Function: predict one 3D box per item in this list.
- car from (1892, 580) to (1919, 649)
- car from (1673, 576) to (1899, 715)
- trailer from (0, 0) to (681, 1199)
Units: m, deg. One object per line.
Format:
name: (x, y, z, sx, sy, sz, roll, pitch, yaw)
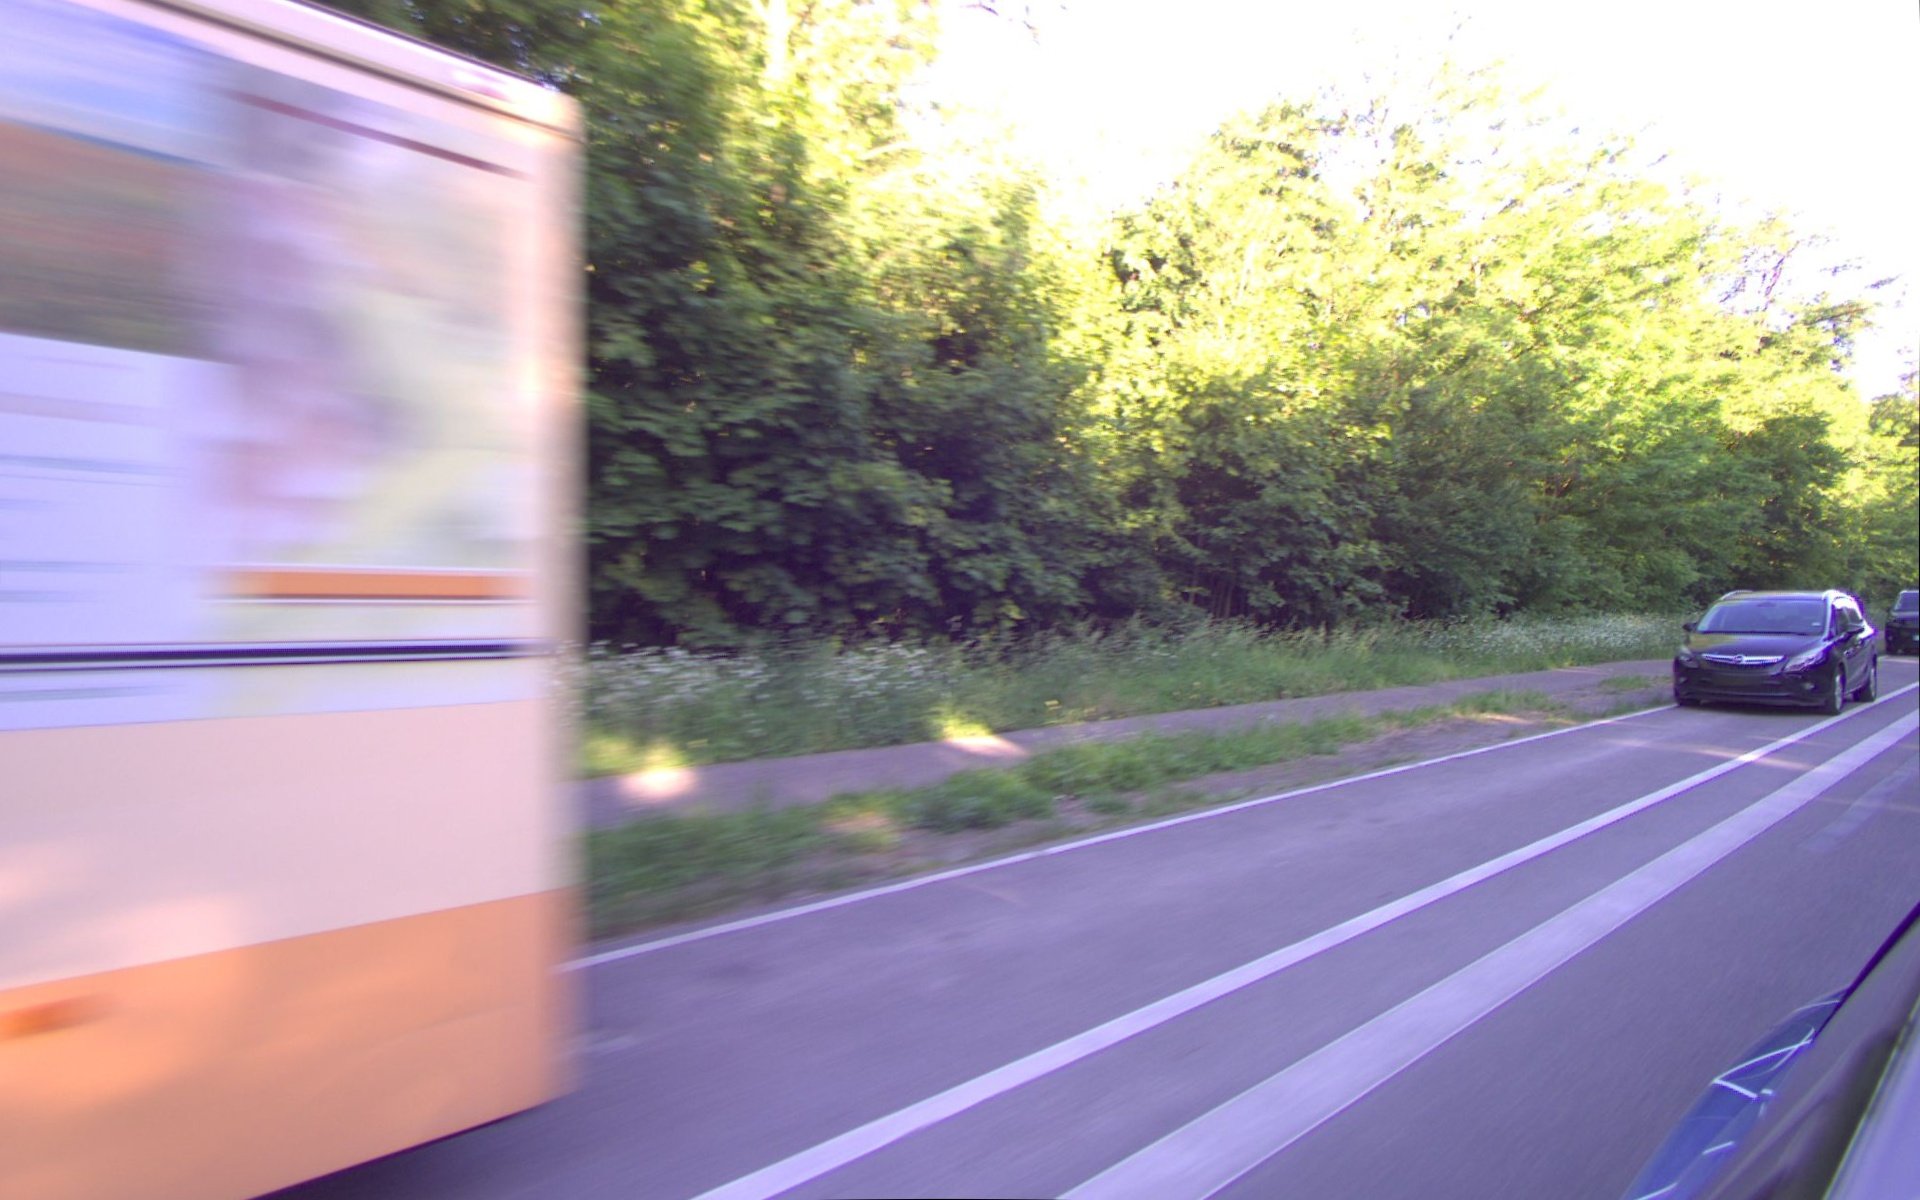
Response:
car: (29.086, 0.417, 29.661, 5.377, 1.923, 1.997, 0, 1, -41)
car: (12.034, 0.524, 14.639, 4.521, 1.711, 1.803, -1, 1, -41)
trailer: (-5.270, -0.005, 0.312, 9.713, 2.878, 2.925, -1, -1, -42)
